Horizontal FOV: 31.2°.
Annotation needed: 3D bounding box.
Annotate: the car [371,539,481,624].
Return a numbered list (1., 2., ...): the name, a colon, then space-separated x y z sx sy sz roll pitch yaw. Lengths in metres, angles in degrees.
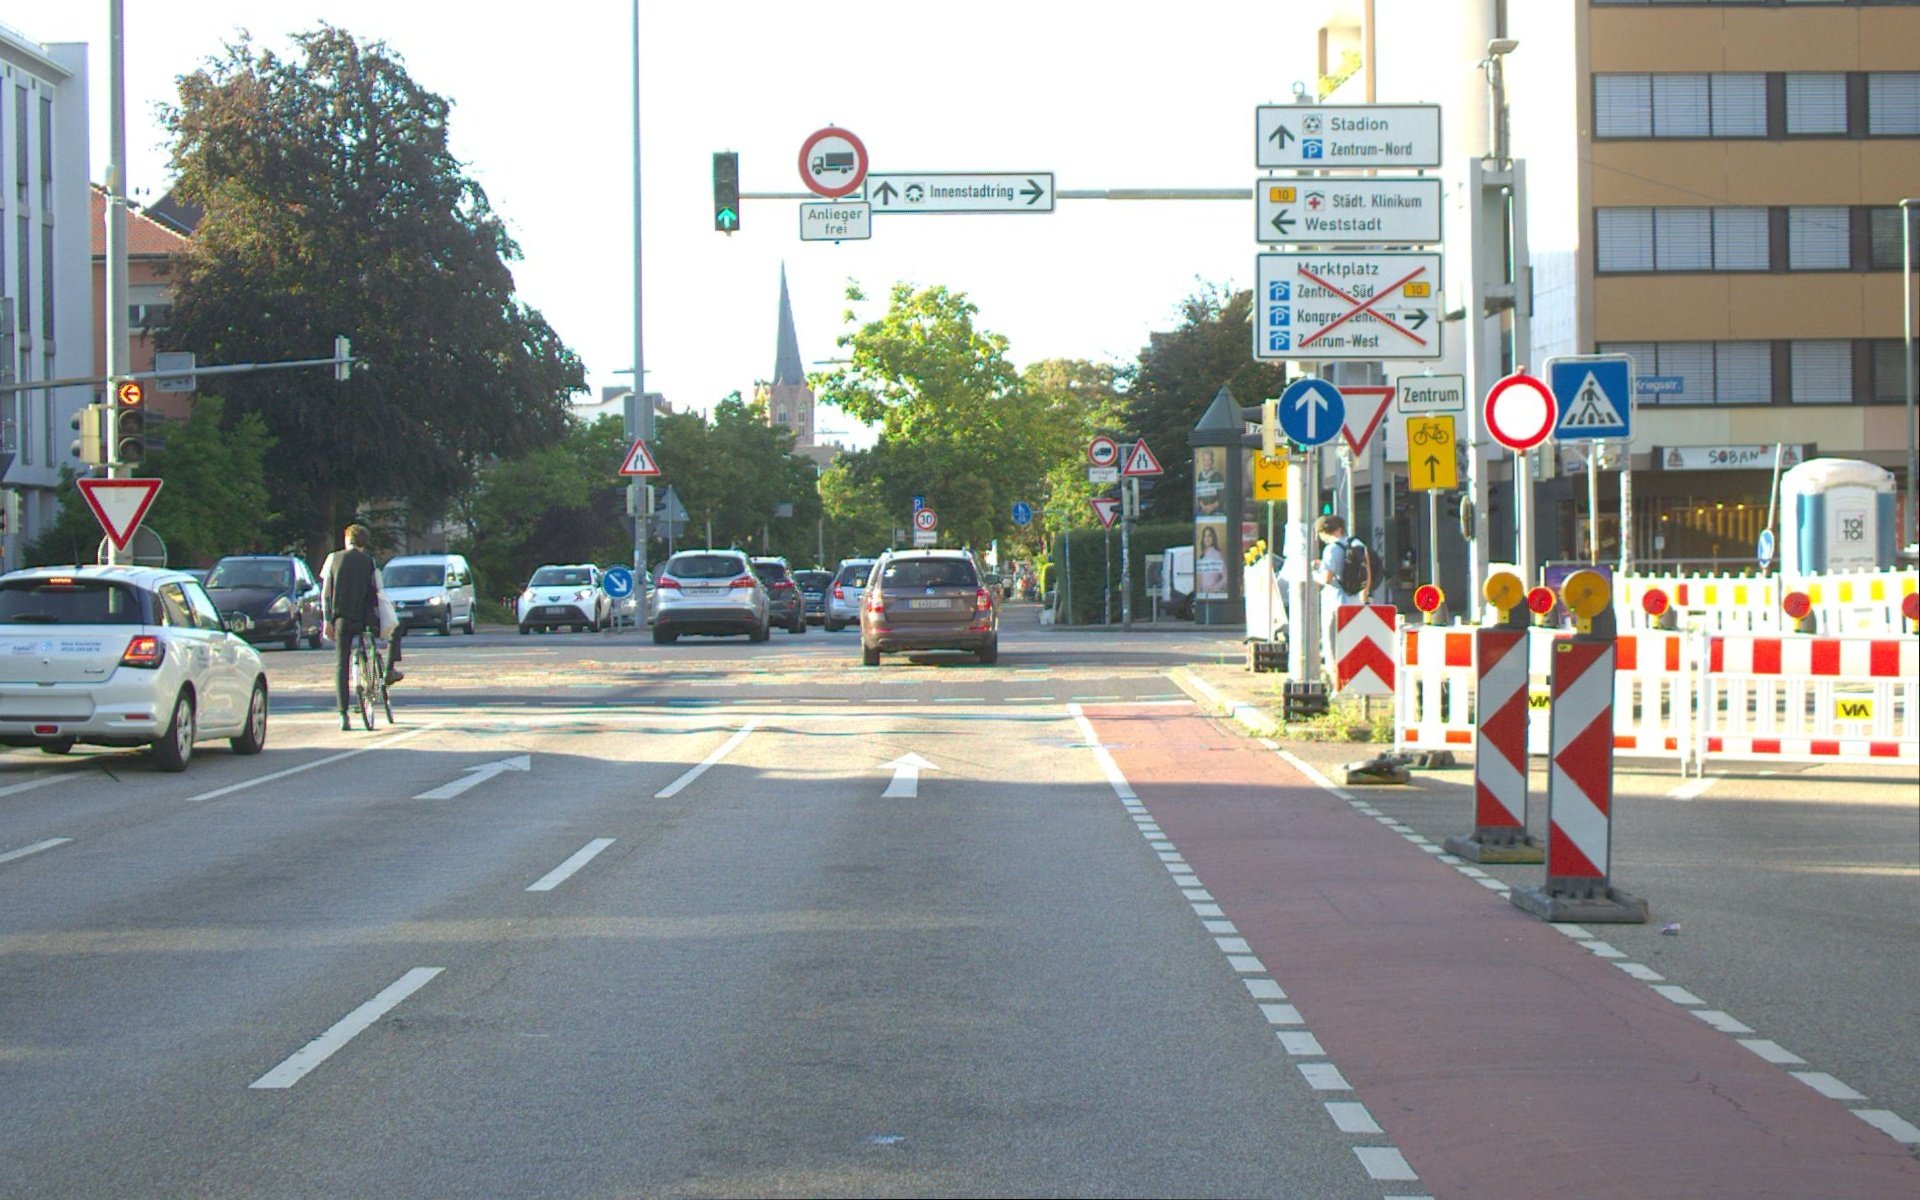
1. car: -11.831 -0.435 76.427 1.915 1.805 4.718 -1 1 -3

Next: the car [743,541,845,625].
1. car: -3.212 -0.357 67.249 1.748 1.559 4.050 -1 1 0

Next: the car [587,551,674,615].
1. car: -7.821 -0.428 81.970 1.847 1.456 4.050 -1 1 -3

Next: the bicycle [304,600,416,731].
1. bicycle: -5.368 0.569 30.879 0.699 1.096 2.258 -1 1 -3

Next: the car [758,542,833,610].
1. car: -4.199 -0.629 88.149 1.664 1.652 4.000 -1 1 1

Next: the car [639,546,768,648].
1. car: -4.126 -0.083 55.801 1.748 1.559 4.050 -1 1 0

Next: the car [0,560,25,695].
1. car: -10.759 0.319 34.378 1.685 1.387 4.181 -1 1 -1

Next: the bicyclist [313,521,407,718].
1. bicyclist: -5.368 0.166 30.792 0.691 1.722 0.988 -1 1 -3

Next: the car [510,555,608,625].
1. car: -8.815 -0.242 75.859 1.847 1.456 4.050 -1 1 -3

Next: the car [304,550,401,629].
1. car: -14.488 -0.276 82.115 1.748 1.805 4.050 -1 1 -3

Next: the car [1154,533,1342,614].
1. car: 7.003 -0.656 83.909 4.363 1.871 2.000 -1 1 -1

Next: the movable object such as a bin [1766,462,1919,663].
1. movable object such as a bin: 11.659 -0.477 41.764 3.328 2.375 1.529 -1 1 -1

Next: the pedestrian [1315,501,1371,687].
1. pedestrian: 3.888 -0.062 34.946 0.520 1.862 0.614 -1 1 5

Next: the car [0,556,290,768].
1. car: -6.335 0.412 26.021 1.685 1.452 4.000 0 1 1

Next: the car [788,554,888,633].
1. car: -2.535 -0.112 72.284 1.993 1.503 4.000 -2 -1 -1

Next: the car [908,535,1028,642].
1. car: 0.091 -0.204 55.239 1.819 1.634 4.000 -1 1 -1

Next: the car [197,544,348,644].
1. car: -10.817 -0.121 54.279 1.658 1.489 4.000 -1 1 -2

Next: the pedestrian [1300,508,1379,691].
1. pedestrian: 3.776 -0.007 34.276 0.741 1.793 0.715 -1 1 5

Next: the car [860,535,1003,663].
1. car: -0.340 -0.049 44.737 1.748 1.559 4.050 -1 1 0
